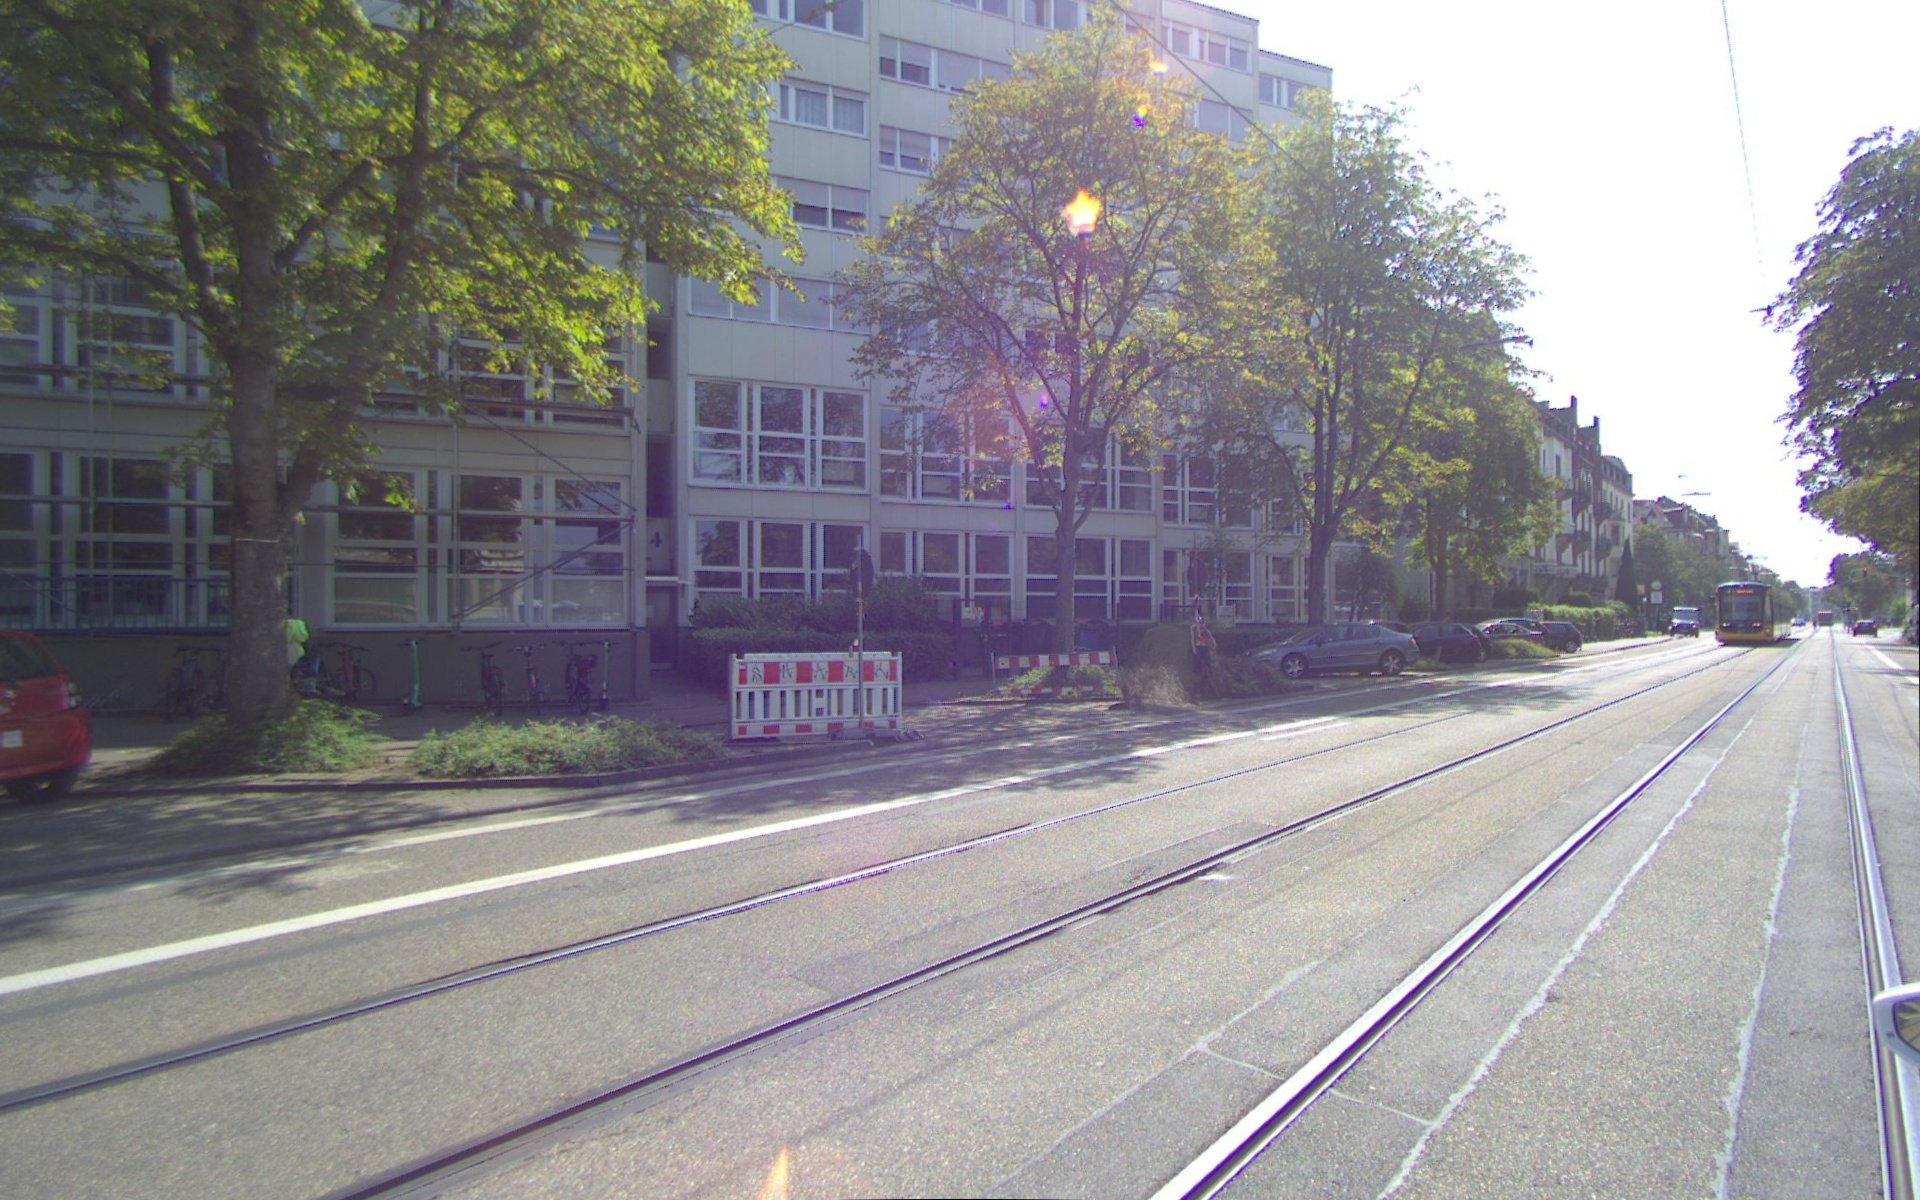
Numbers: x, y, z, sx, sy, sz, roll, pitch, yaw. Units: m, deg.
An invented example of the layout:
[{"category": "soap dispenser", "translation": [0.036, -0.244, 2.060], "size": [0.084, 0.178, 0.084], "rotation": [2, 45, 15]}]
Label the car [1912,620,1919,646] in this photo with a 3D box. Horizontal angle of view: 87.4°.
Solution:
[{"category": "car", "translation": [54.239, 1.808, 55.523], "size": [1.969, 1.416, 3.982], "rotation": [-1, -1, 39]}]

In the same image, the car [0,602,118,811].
[{"category": "car", "translation": [-8.946, 0.791, 7.500], "size": [3.785, 1.528, 1.721], "rotation": [0, -2, -2]}]

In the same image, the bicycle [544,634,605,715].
[{"category": "bicycle", "translation": [-6.570, 1.219, 17.060], "size": [0.556, 1.184, 2.326], "rotation": [1, 0, -31]}]

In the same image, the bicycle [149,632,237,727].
[{"category": "bicycle", "translation": [-10.991, 1.093, 14.456], "size": [0.594, 1.175, 2.329], "rotation": [1, 0, -28]}]

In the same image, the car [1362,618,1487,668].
[{"category": "car", "translation": [15.793, 1.448, 34.274], "size": [3.516, 1.595, 1.677], "rotation": [1, -1, 0]}]

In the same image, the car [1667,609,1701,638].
[{"category": "car", "translation": [63.123, 2.034, 87.540], "size": [2.214, 2.473, 3.984], "rotation": [0, -1, 38]}]

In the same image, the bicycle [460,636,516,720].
[{"category": "bicycle", "translation": [-7.701, 1.221, 16.346], "size": [0.615, 1.184, 2.327], "rotation": [1, 0, -30]}]

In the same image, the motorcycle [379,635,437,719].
[{"category": "motorcycle", "translation": [-8.743, 1.185, 15.950], "size": [0.735, 1.170, 1.992], "rotation": [1, 0, -28]}]

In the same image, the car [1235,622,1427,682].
[{"category": "car", "translation": [9.986, 1.372, 27.187], "size": [4.599, 1.471, 1.675], "rotation": [-1, -1, -5]}]

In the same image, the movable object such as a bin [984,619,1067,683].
[{"category": "movable object such as a bin", "translation": [1.693, 1.296, 25.858], "size": [1.663, 1.580, 1.347], "rotation": [-1, -2, 41]}]

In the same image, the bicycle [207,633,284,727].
[{"category": "bicycle", "translation": [-10.446, 1.120, 14.747], "size": [0.594, 1.175, 2.329], "rotation": [1, 0, -28]}]

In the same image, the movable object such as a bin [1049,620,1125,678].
[{"category": "movable object such as a bin", "translation": [3.568, 1.362, 28.297], "size": [1.663, 1.580, 1.347], "rotation": [-1, -2, 41]}]

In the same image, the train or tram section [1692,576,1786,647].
[{"category": "train or tram section", "translation": [45.721, 0.666, 58.755], "size": [3.458, 3.753, 12.343], "rotation": [0, -1, 42]}]

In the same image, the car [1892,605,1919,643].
[{"category": "car", "translation": [58.446, 1.474, 61.226], "size": [1.968, 2.263, 3.985], "rotation": [-1, -1, 37]}]

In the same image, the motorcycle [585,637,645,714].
[{"category": "motorcycle", "translation": [-6.026, 1.282, 17.488], "size": [0.686, 1.198, 1.832], "rotation": [1, 0, -28]}]

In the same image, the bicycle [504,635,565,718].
[{"category": "bicycle", "translation": [-7.110, 1.230, 16.730], "size": [0.615, 1.184, 2.326], "rotation": [1, 0, -30]}]

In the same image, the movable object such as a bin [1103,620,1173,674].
[{"category": "movable object such as a bin", "translation": [5.434, 1.423, 30.676], "size": [1.663, 1.580, 1.347], "rotation": [-1, -2, 41]}]

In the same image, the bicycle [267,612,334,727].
[{"category": "bicycle", "translation": [-9.864, 0.979, 15.084], "size": [0.594, 1.546, 2.329], "rotation": [1, 0, -28]}]

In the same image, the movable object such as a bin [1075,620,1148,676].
[{"category": "movable object such as a bin", "translation": [4.453, 1.390, 29.583], "size": [1.663, 1.580, 1.347], "rotation": [-1, -2, 41]}]

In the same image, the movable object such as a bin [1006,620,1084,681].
[{"category": "movable object such as a bin", "translation": [2.300, 1.338, 27.235], "size": [1.663, 1.580, 1.347], "rotation": [-1, -2, 41]}]

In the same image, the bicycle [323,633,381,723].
[{"category": "bicycle", "translation": [-9.294, 1.149, 15.403], "size": [0.594, 1.184, 2.329], "rotation": [1, 0, -28]}]

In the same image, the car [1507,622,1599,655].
[{"category": "car", "translation": [29.104, 1.878, 49.357], "size": [3.516, 1.595, 1.677], "rotation": [1, -1, 0]}]

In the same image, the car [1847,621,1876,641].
[{"category": "car", "translation": [82.871, 2.830, 92.354], "size": [1.971, 1.825, 3.979], "rotation": [0, -1, 42]}]

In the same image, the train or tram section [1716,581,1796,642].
[{"category": "train or tram section", "translation": [53.972, 0.777, 67.938], "size": [3.458, 3.753, 12.343], "rotation": [0, -1, 42]}]
